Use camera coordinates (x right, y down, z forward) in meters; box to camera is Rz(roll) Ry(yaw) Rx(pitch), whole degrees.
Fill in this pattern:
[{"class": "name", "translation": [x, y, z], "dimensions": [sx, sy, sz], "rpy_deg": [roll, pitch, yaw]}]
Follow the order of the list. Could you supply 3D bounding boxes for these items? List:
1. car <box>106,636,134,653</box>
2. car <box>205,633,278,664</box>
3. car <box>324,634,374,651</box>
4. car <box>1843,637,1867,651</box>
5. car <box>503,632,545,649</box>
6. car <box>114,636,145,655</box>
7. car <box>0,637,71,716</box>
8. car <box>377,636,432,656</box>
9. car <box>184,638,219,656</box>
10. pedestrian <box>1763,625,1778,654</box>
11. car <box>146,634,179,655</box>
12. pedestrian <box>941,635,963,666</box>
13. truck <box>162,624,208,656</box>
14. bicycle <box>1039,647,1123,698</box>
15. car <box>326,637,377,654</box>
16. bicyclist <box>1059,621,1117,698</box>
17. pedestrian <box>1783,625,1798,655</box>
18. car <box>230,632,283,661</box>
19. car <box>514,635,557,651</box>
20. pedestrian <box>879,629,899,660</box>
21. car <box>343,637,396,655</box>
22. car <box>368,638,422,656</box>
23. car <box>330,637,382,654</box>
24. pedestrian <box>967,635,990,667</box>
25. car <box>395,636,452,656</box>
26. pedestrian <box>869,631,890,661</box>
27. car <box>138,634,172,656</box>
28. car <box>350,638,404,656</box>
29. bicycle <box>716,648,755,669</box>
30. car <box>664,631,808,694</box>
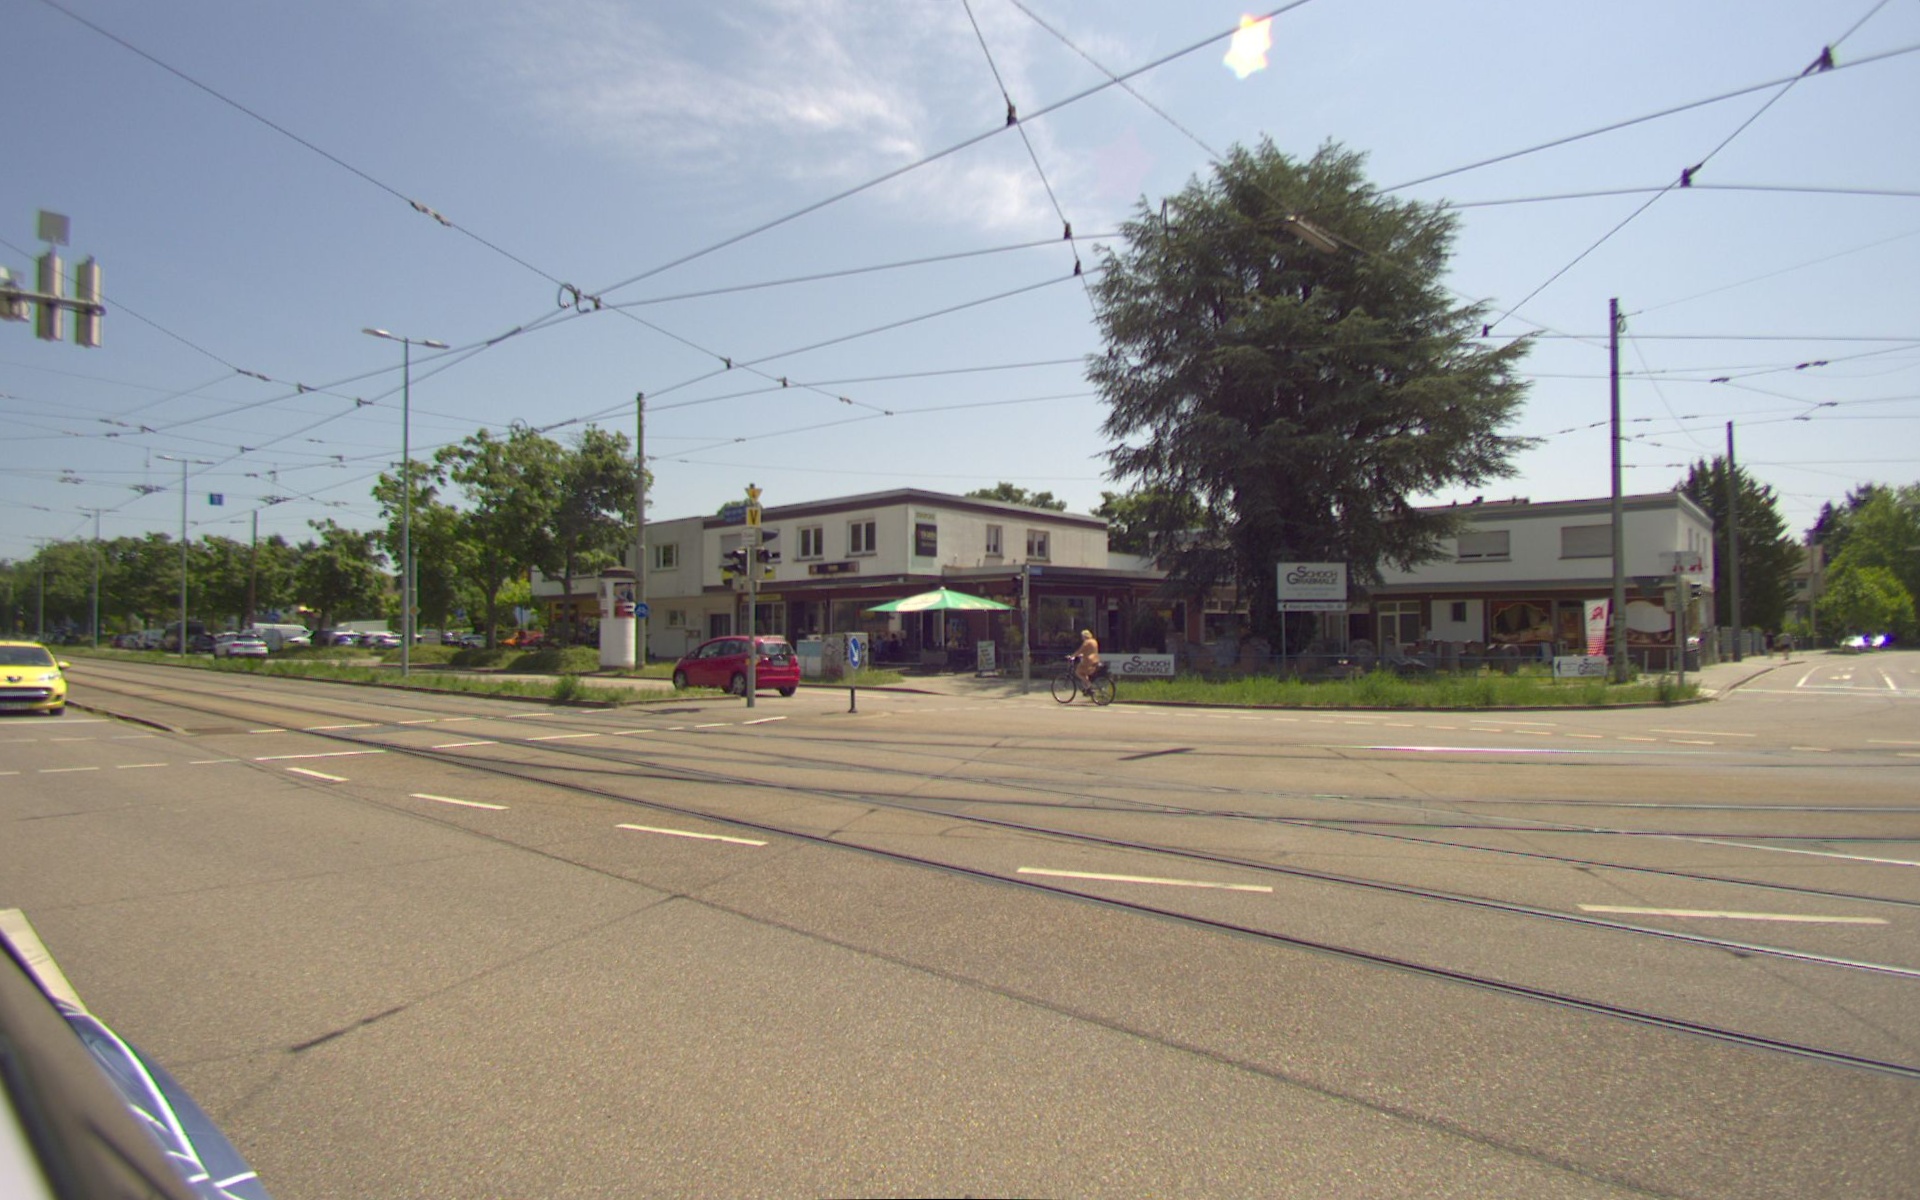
[{"class": "car", "translation": [-87.111, 4.628, 104.915], "dimensions": [3.822, 1.716, 1.659], "rpy_deg": [-2, -3, 41]}, {"class": "car", "translation": [-38.106, 2.568, 53.650], "dimensions": [4.133, 1.565, 1.974], "rpy_deg": [-2, -5, 38]}, {"class": "car", "translation": [-53.740, 3.732, 89.021], "dimensions": [1.601, 1.517, 3.373], "rpy_deg": [-2, -3, 37]}, {"class": "car", "translation": [80.859, 3.969, 91.475], "dimensions": [1.598, 1.236, 3.253], "rpy_deg": [-2, -3, 41]}, {"class": "car", "translation": [-40.938, 3.768, 95.066], "dimensions": [1.505, 1.573, 3.313], "rpy_deg": [-2, -3, 39]}, {"class": "car", "translation": [-82.410, 4.523, 100.430], "dimensions": [4.201, 1.807, 1.659], "rpy_deg": [-2, -3, 41]}, {"class": "car", "translation": [-18.806, 1.467, 19.812], "dimensions": [3.654, 1.432, 1.599], "rpy_deg": [-2, -5, 42]}, {"class": "car", "translation": [-42.658, 3.543, 77.750], "dimensions": [1.596, 1.502, 3.373], "rpy_deg": [-2, -3, 37]}, {"class": "car", "translation": [-59.971, 3.669, 80.012], "dimensions": [3.670, 1.397, 1.652], "rpy_deg": [-2, -3, 44]}, {"class": "pedestrian", "translation": [52.231, 2.546, 65.244], "dimensions": [0.679, 1.917, 0.640], "rpy_deg": [-2, -3, 42]}, {"class": "car", "translation": [-70.830, 3.955, 89.855], "dimensions": [3.867, 1.807, 1.659], "rpy_deg": [-2, -3, 41]}, {"class": "pedestrian", "translation": [-0.300, 1.860, 37.663], "dimensions": [0.674, 1.136, 0.511], "rpy_deg": [-2, -3, 42]}, {"class": "truck", "translation": [-64.475, 3.340, 84.138], "dimensions": [4.928, 2.561, 2.195], "rpy_deg": [-2, -3, 43]}, {"class": "bicycle", "translation": [2.874, 1.717, 24.148], "dimensions": [1.931, 1.157, 0.687], "rpy_deg": [-3, -4, 42]}, {"class": "car", "translation": [-52.239, 3.893, 86.876], "dimensions": [1.601, 1.404, 3.373], "rpy_deg": [-2, -3, 37]}, {"class": "bicyclist", "translation": [3.035, 1.397, 24.004], "dimensions": [1.137, 1.779, 0.687], "rpy_deg": [-3, -4, 41]}, {"class": "pedestrian", "translation": [53.050, 2.550, 64.637], "dimensions": [0.679, 1.917, 0.640], "rpy_deg": [-2, -3, 42]}, {"class": "car", "translation": [-47.825, 3.126, 68.775], "dimensions": [4.661, 1.898, 1.972], "rpy_deg": [-2, -3, 42]}, {"class": "car", "translation": [-38.898, 3.936, 92.843], "dimensions": [1.505, 1.469, 3.313], "rpy_deg": [-2, -3, 39]}, {"class": "pedestrian", "translation": [-2.898, 1.809, 41.215], "dimensions": [0.674, 1.218, 0.511], "rpy_deg": [-2, -3, 42]}, {"class": "car", "translation": [-48.499, 3.784, 83.142], "dimensions": [1.601, 1.404, 3.373], "rpy_deg": [-2, -3, 37]}, {"class": "car", "translation": [-44.430, 3.694, 79.660], "dimensions": [1.601, 1.404, 3.373], "rpy_deg": [-2, -3, 37]}, {"class": "car", "translation": [-50.433, 3.814, 84.549], "dimensions": [1.601, 1.404, 3.373], "rpy_deg": [-2, -3, 37]}, {"class": "pedestrian", "translation": [0.685, 1.835, 36.731], "dimensions": [0.674, 1.136, 0.511], "rpy_deg": [-2, -3, 42]}, {"class": "car", "translation": [-40.819, 3.498, 77.004], "dimensions": [1.791, 1.502, 3.373], "rpy_deg": [-2, -3, 37]}, {"class": "pedestrian", "translation": [-3.249, 1.838, 40.741], "dimensions": [0.674, 1.208, 0.511], "rpy_deg": [-2, -3, 42]}, {"class": "car", "translation": [-74.382, 4.104, 93.489], "dimensions": [4.507, 1.989, 1.659], "rpy_deg": [-2, -3, 41]}, {"class": "car", "translation": [-46.479, 3.707, 80.753], "dimensions": [1.601, 1.404, 3.373], "rpy_deg": [-2, -3, 37]}, {"class": "bicycle", "translation": [-9.440, 2.447, 42.497], "dimensions": [1.958, 0.854, 0.595], "rpy_deg": [-2, 0, 42]}, {"class": "car", "translation": [-5.837, 1.570, 26.204], "dimensions": [3.825, 1.495, 1.608], "rpy_deg": [-2, -3, 39]}]
